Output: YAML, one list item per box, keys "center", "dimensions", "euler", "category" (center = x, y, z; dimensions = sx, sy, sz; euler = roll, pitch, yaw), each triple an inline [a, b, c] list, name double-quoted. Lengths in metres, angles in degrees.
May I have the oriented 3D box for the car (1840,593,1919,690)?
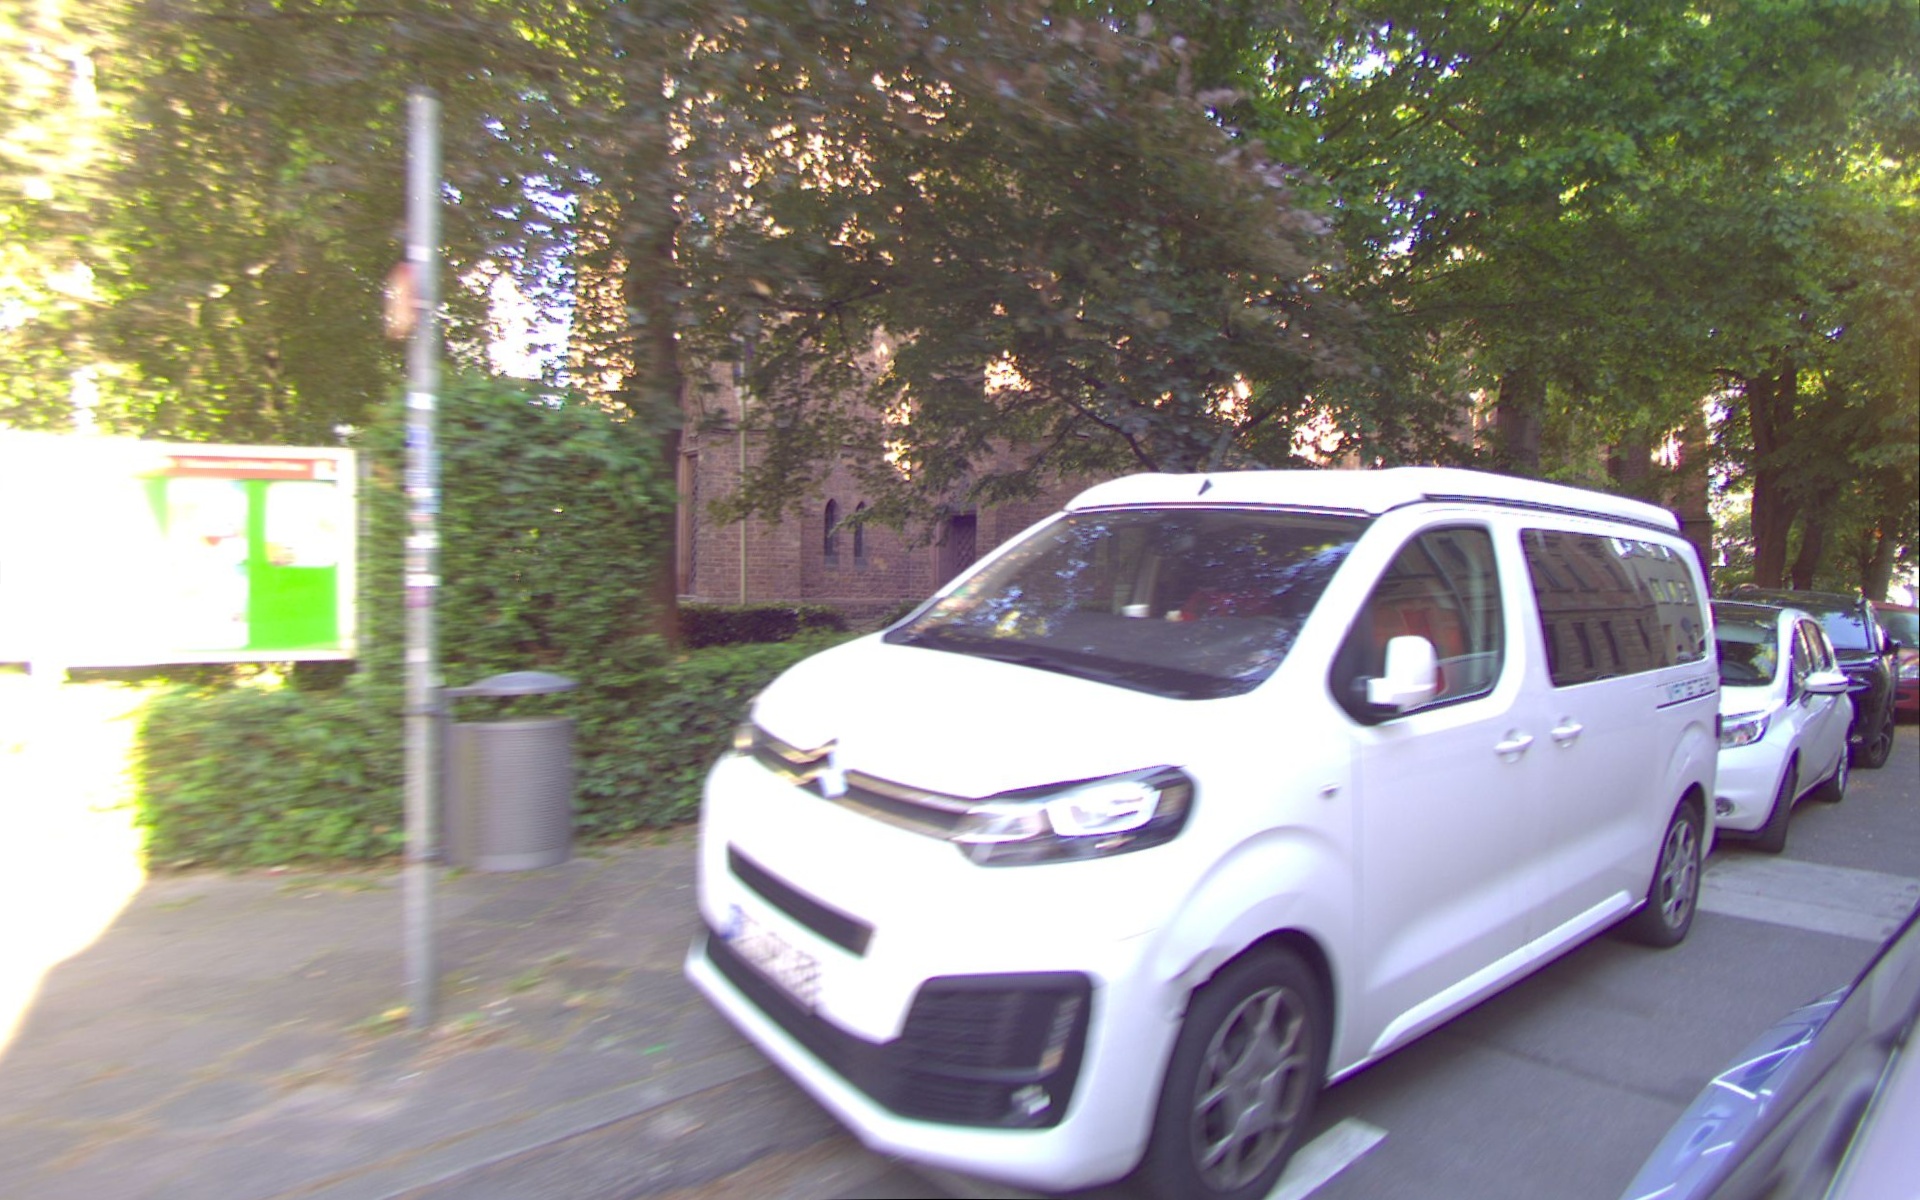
- center: [17.147, 0.703, 17.939]
  dimensions: [3.708, 1.504, 1.624]
  euler: [0, 6, -39]
  category: "car"

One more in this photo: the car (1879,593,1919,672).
- center: [20.628, 0.678, 21.237]
  dimensions: [1.677, 1.458, 4.620]
  euler: [8, 6, 44]
  category: "car"

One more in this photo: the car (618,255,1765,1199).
- center: [1.326, 0.366, 4.042]
  dimensions: [4.705, 2.023, 1.919]
  euler: [0, 3, -39]
  category: "car"

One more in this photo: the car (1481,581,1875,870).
- center: [5.495, 0.685, 7.562]
  dimensions: [3.764, 1.590, 1.720]
  euler: [0, 1, -44]
  category: "car"

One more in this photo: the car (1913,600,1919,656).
- center: [24.468, 0.625, 24.528]
  dimensions: [3.566, 1.522, 1.603]
  euler: [-1, 6, -42]
  category: "car"

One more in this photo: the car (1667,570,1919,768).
- center: [9.265, 0.564, 11.043]
  dimensions: [1.741, 1.621, 4.196]
  euler: [8, 6, 44]
  category: "car"

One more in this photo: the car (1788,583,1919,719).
- center: [13.536, 0.649, 14.782]
  dimensions: [3.799, 1.643, 1.622]
  euler: [-1, 6, -43]
  category: "car"
